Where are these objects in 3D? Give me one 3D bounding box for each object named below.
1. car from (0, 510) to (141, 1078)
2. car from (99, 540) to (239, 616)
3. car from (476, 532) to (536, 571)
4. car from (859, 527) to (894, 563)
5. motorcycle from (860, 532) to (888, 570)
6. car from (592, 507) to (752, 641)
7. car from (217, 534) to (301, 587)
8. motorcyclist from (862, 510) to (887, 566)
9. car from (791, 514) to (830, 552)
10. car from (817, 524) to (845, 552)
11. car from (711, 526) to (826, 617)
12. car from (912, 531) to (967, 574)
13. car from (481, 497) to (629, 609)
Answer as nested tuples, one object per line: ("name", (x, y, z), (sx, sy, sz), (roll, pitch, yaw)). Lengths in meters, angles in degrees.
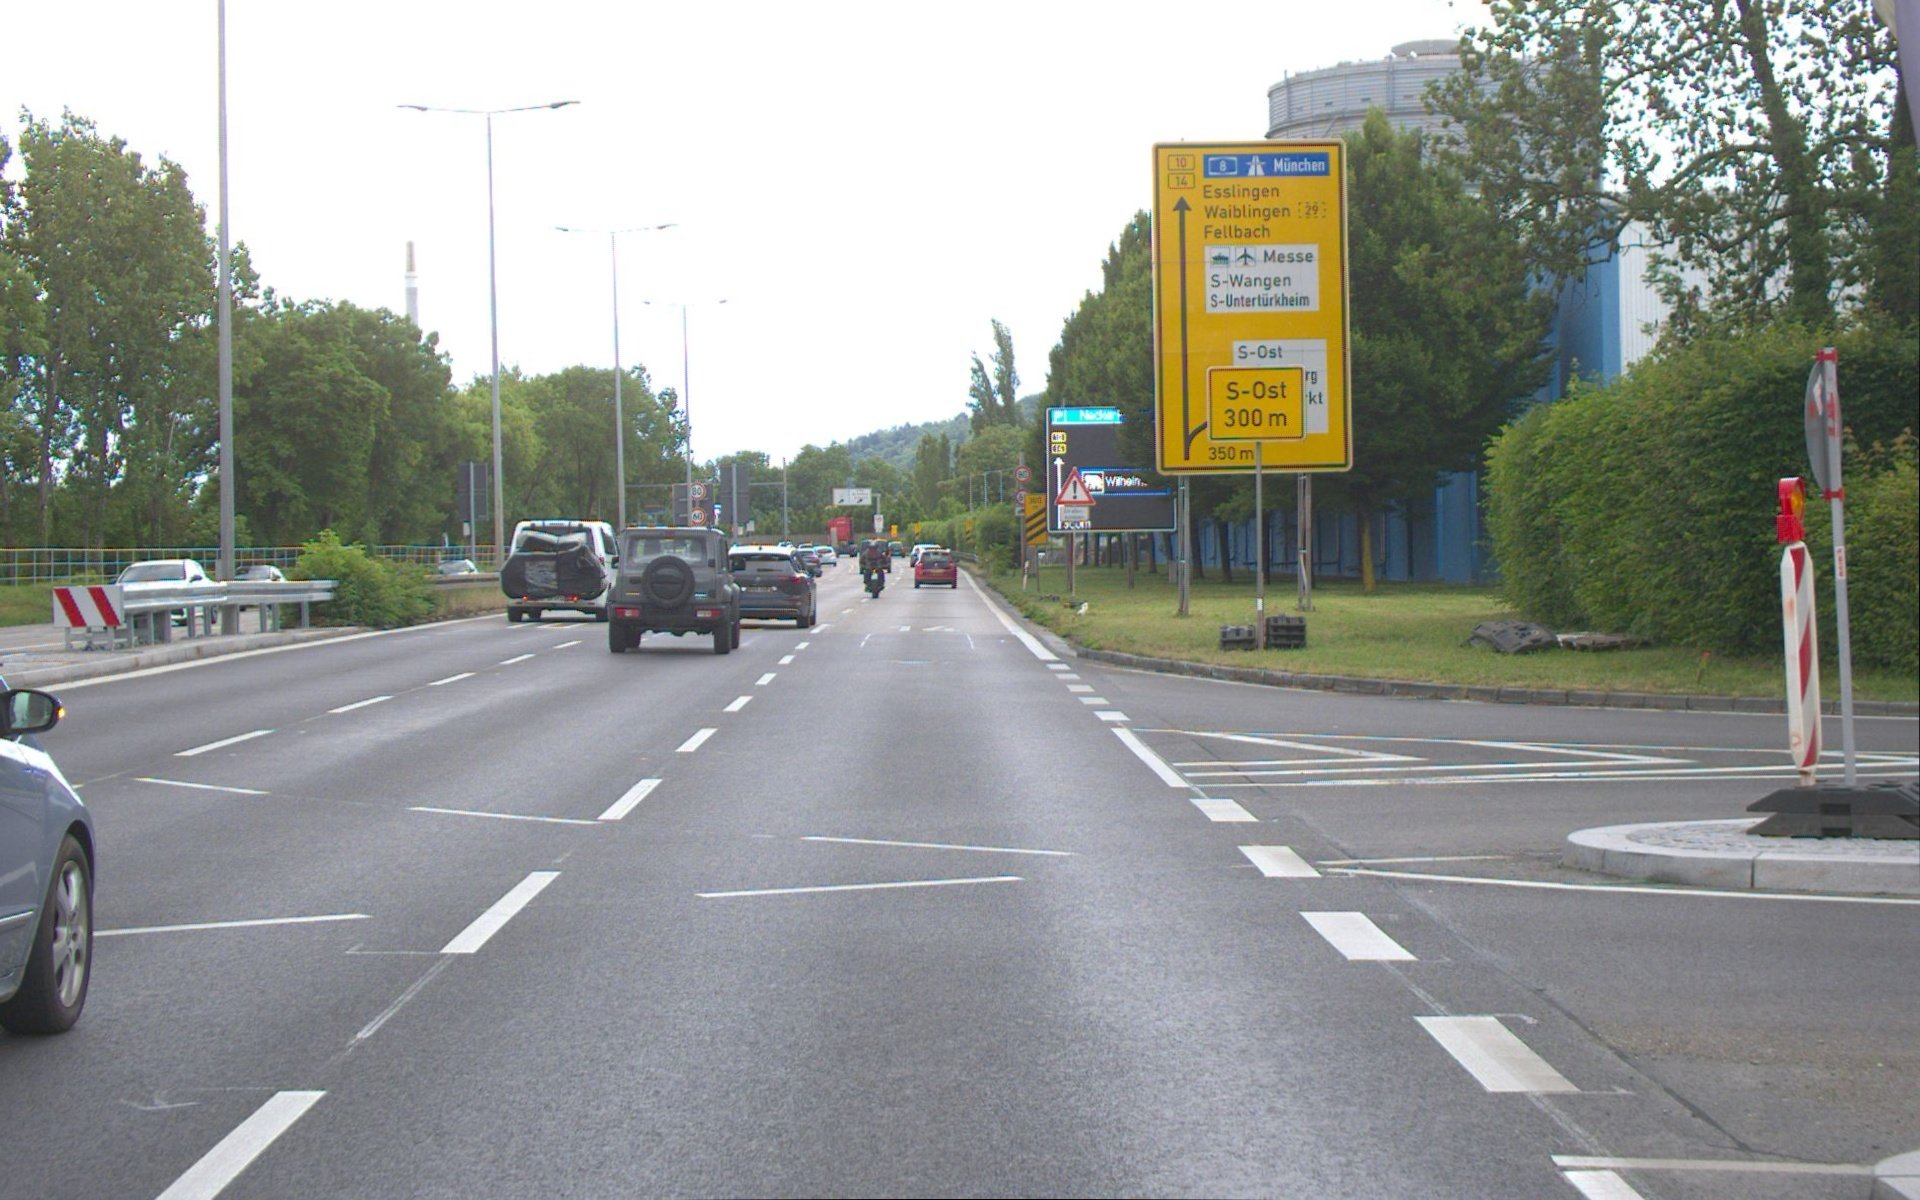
("car", (-3.445, 0.531, 8.992), (1.710, 1.524, 4.001), (1, 2, -1))
("car", (-17.297, -0.517, 75.411), (1.993, 1.488, 4.805), (1, 2, -1))
("car", (-20.119, -2.170, 152.580), (1.993, 1.634, 4.000), (1, 2, 1))
("car", (-4.906, -3.273, 202.394), (1.993, 2.006, 4.001), (1, 2, -1))
("motorcycle", (-2.497, -1.430, 100.219), (0.706, 1.036, 2.027), (1, 2, 1))
("car", (-3.907, -0.395, 47.189), (1.907, 1.678, 4.001), (1, 2, -1))
("car", (-23.309, -1.322, 114.415), (1.993, 1.634, 4.001), (1, 2, -1))
("motorcyclist", (-2.492, -1.807, 100.292), (0.685, 1.604, 0.845), (1, 2, 1))
("car", (-8.201, -3.684, 188.767), (1.993, 2.006, 4.001), (1, 2, -1))
("car", (-9.772, -4.717, 260.836), (1.993, 2.006, 4.000), (1, 2, 0))
("car", (-3.348, -0.530, 60.695), (1.840, 1.459, 4.001), (1, 2, -1))
("car", (-0.814, -1.870, 134.699), (1.993, 1.546, 4.001), (1, 2, -2))
("car", (-7.470, -0.911, 63.851), (2.214, 1.919, 5.003), (1, 2, -1))
